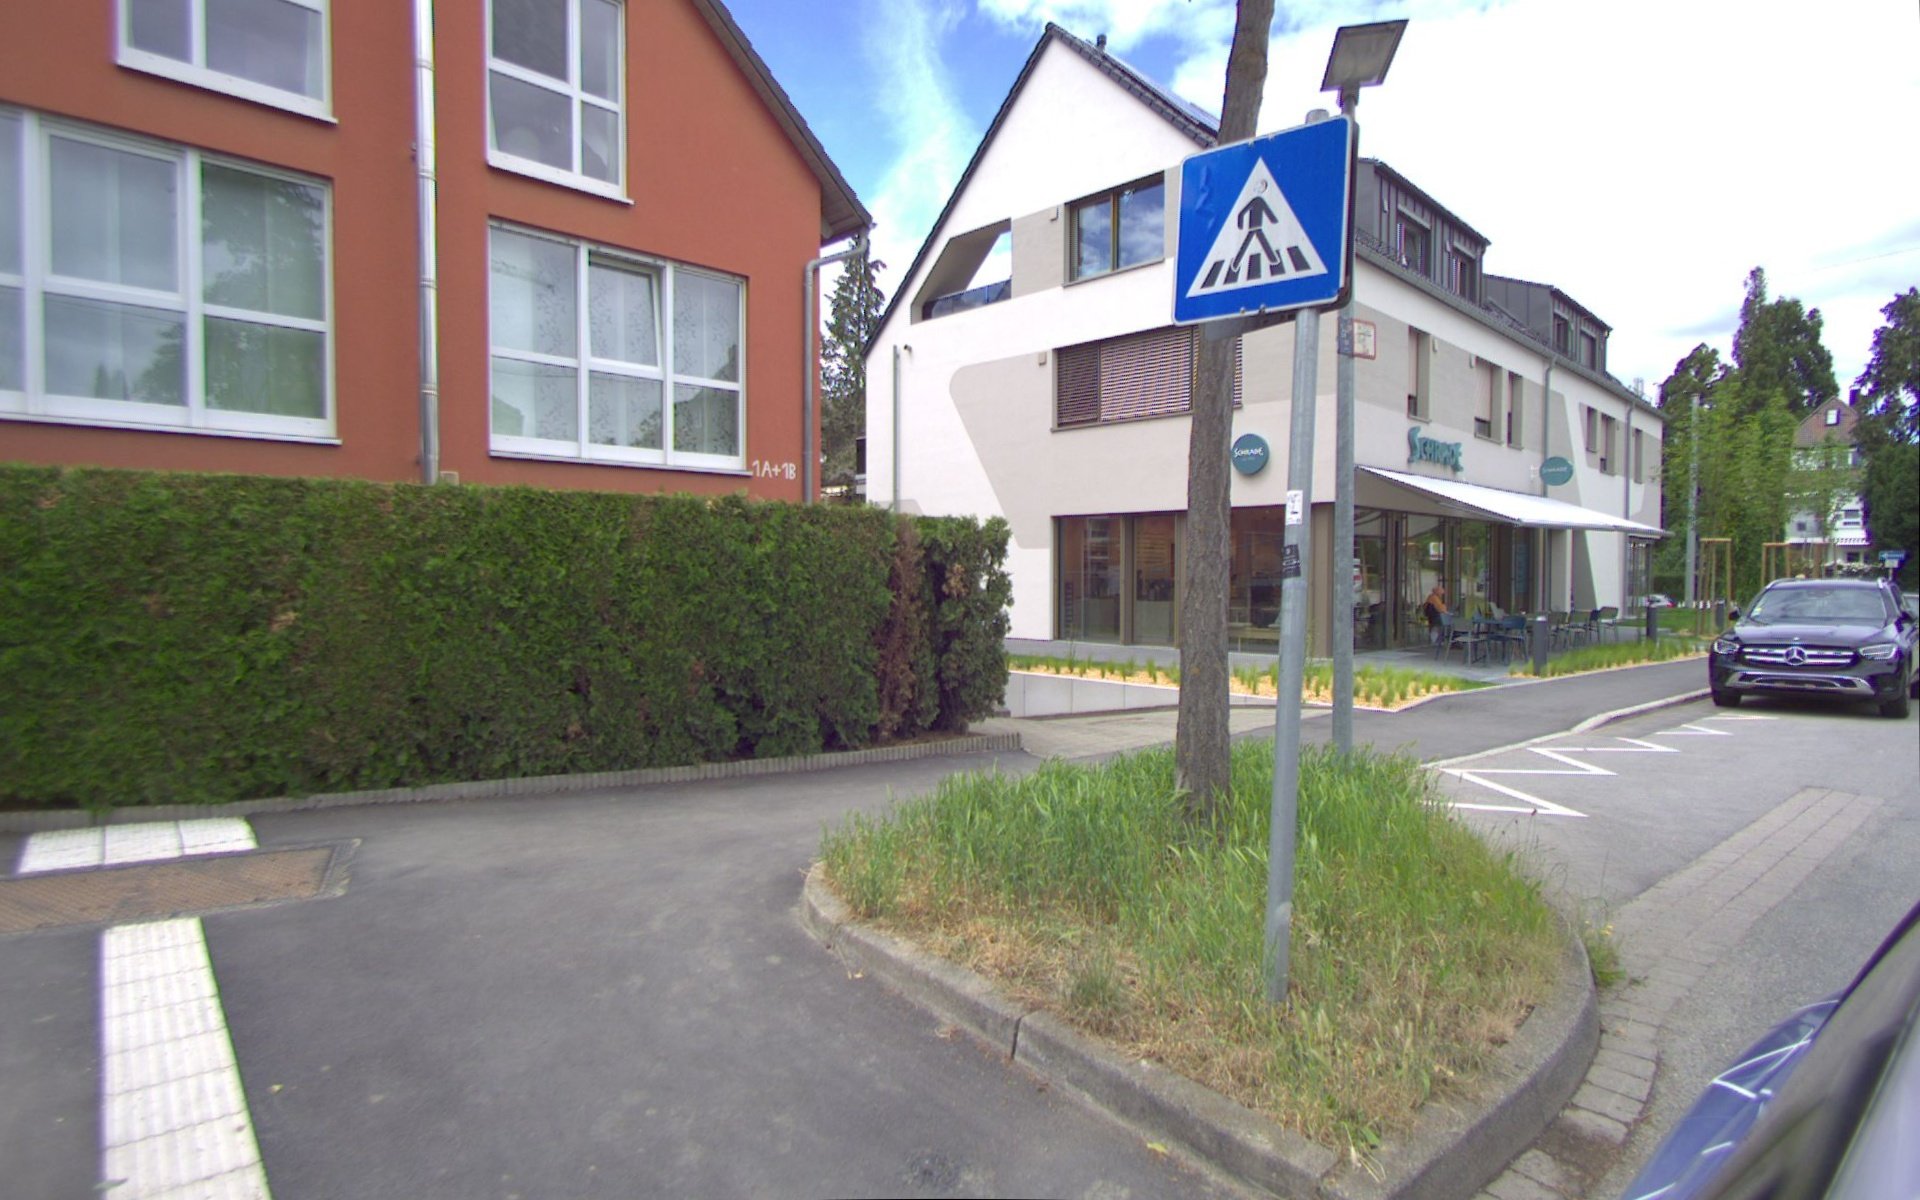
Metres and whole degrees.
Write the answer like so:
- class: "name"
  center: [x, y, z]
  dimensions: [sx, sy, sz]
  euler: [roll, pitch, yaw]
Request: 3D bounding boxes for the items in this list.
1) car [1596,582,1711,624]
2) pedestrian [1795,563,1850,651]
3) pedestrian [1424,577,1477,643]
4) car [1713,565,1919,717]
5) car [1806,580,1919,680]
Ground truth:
- class: "car"
  center: [30.174, 0.135, 44.091]
  dimensions: [3.831, 1.616, 1.847]
  euler: [-4, -1, 44]
- class: "pedestrian"
  center: [16.924, 0.121, 19.852]
  dimensions: [0.648, 1.689, 0.678]
  euler: [-1, 3, -40]
- class: "pedestrian"
  center: [9.610, 0.179, 19.842]
  dimensions: [0.751, 1.253, 0.681]
  euler: [2, 2, 45]
- class: "car"
  center: [11.450, 0.396, 13.175]
  dimensions: [4.390, 1.657, 1.849]
  euler: [-1, 1, -42]
- class: "car"
  center: [15.395, 0.421, 16.659]
  dimensions: [3.769, 1.470, 1.710]
  euler: [-1, 1, -41]
